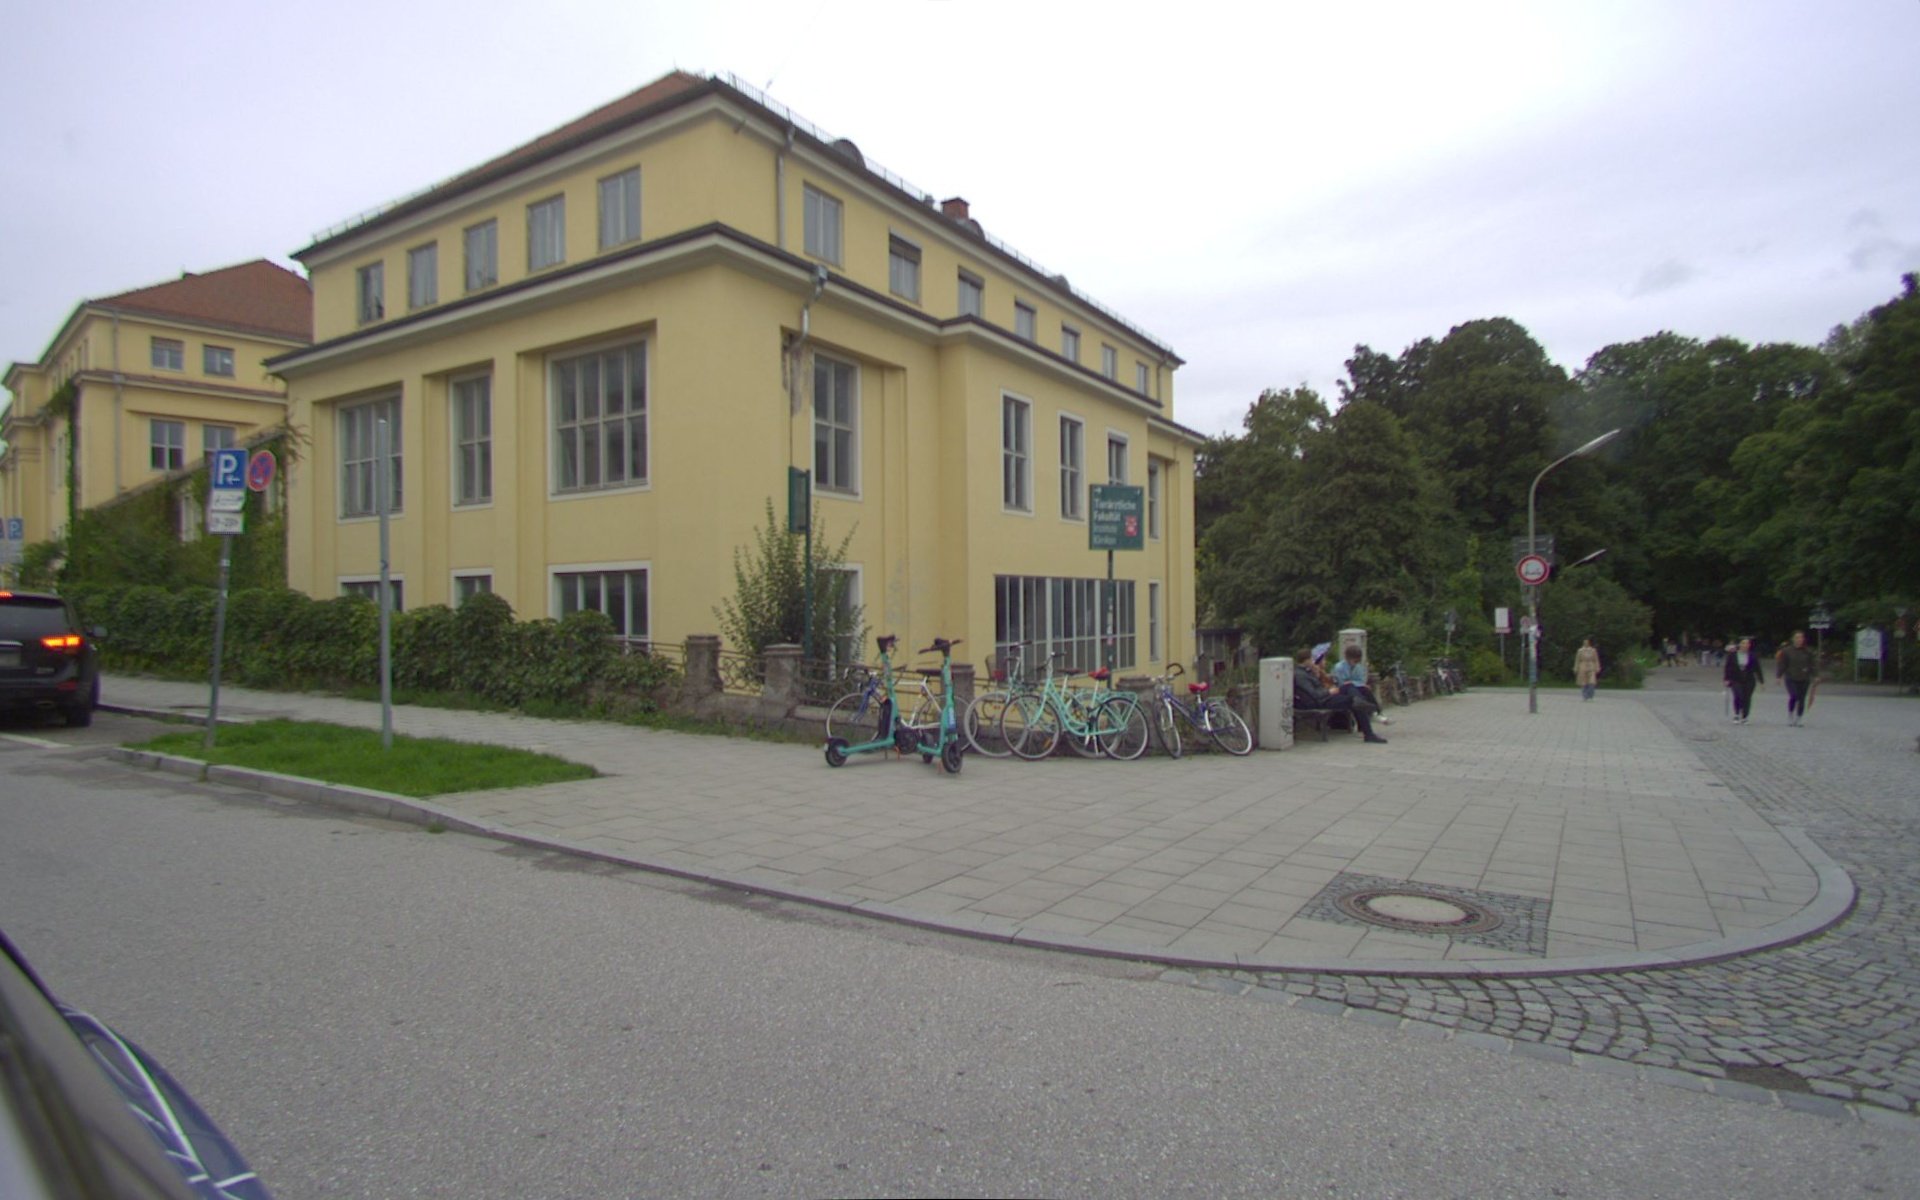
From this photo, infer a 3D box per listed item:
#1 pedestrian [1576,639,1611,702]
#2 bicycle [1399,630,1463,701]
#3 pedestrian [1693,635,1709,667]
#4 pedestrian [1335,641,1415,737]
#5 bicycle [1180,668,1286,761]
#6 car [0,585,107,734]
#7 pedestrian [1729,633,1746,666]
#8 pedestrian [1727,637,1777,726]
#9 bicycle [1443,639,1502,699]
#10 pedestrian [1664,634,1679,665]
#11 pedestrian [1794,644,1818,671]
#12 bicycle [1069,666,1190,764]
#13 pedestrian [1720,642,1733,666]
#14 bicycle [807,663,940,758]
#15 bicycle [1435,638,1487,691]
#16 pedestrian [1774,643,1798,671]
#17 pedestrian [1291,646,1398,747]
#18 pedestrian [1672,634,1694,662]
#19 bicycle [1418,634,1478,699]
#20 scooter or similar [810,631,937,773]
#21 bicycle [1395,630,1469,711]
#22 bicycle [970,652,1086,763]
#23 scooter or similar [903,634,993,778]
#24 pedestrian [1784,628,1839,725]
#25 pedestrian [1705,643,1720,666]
[{"bbox_3d":[17.786,1.956,28.445,0.746,1.719,1.101,-1,-1,29],"label":"pedestrian"},{"bbox_3d":[12.070,1.637,26.064,1.043,1.674,2.987,-1,-1,17],"label":"bicycle"},{"bbox_3d":[47.574,3.246,64.975,0.695,2.029,0.710,-2,-3,33],"label":"pedestrian"},{"bbox_3d":[6.229,1.299,15.187,1.027,1.345,0.947,-1,-1,27],"label":"pedestrian"},{"bbox_3d":[3.169,1.301,11.708,1.254,0.985,0.415,1,-2,-31],"label":"bicycle"},{"bbox_3d":[-12.713,0.736,13.467,1.968,1.732,4.623,0,-1,-39],"label":"car"},{"bbox_3d":[48.530,3.086,63.180,0.695,2.029,0.710,-2,-3,33],"label":"pedestrian"},{"bbox_3d":[14.843,1.509,18.986,0.691,1.593,0.742,-1,-2,37],"label":"pedestrian"},{"bbox_3d":[15.610,2.065,30.907,1.043,1.674,3.134,-1,-1,17],"label":"bicycle"},{"bbox_3d":[46.372,3.241,65.965,0.695,2.029,0.710,-2,-3,33],"label":"pedestrian"},{"bbox_3d":[52.812,3.603,63.189,0.874,1.665,0.729,-1,-2,16],"label":"pedestrian"},{"bbox_3d":[1.845,1.233,11.029,1.254,0.985,0.416,1,-2,-20],"label":"bicycle"},{"bbox_3d":[48.597,3.402,64.190,0.538,1.506,0.538,-1,-2,30],"label":"pedestrian"},{"bbox_3d":[-0.912,1.152,10.707,1.318,0.900,0.432,1,0,15],"label":"bicycle"},{"bbox_3d":[17.280,2.182,35.016,1.043,1.674,3.135,-1,-1,16],"label":"bicycle"},{"bbox_3d":[50.214,3.477,61.507,0.721,1.665,0.884,1,-2,-32],"label":"pedestrian"},{"bbox_3d":[5.235,1.280,13.767,1.259,1.278,0.843,-1,-1,27],"label":"pedestrian"},{"bbox_3d":[53.057,3.500,74.267,1.046,2.029,1.138,-1,-2,27],"label":"pedestrian"},{"bbox_3d":[13.802,1.844,28.733,1.043,1.674,3.134,-1,-1,17],"label":"bicycle"},{"bbox_3d":[-0.814,0.944,9.772,0.395,1.253,1.246,1,0,44],"label":"scooter or similar"},{"bbox_3d":[10.723,1.547,23.132,1.043,1.674,3.135,-1,-1,17],"label":"bicycle"},{"bbox_3d":[0.712,1.109,10.614,1.171,1.119,0.302,1,-1,-16],"label":"bicycle"},{"bbox_3d":[-0.130,0.951,9.461,0.432,1.221,1.057,1,0,-25],"label":"scooter or similar"},{"bbox_3d":[15.443,1.366,18.380,0.659,1.710,0.743,-1,-1,35],"label":"pedestrian"},{"bbox_3d":[48.009,3.473,64.591,0.661,1.506,0.622,-1,-2,30],"label":"pedestrian"}]
